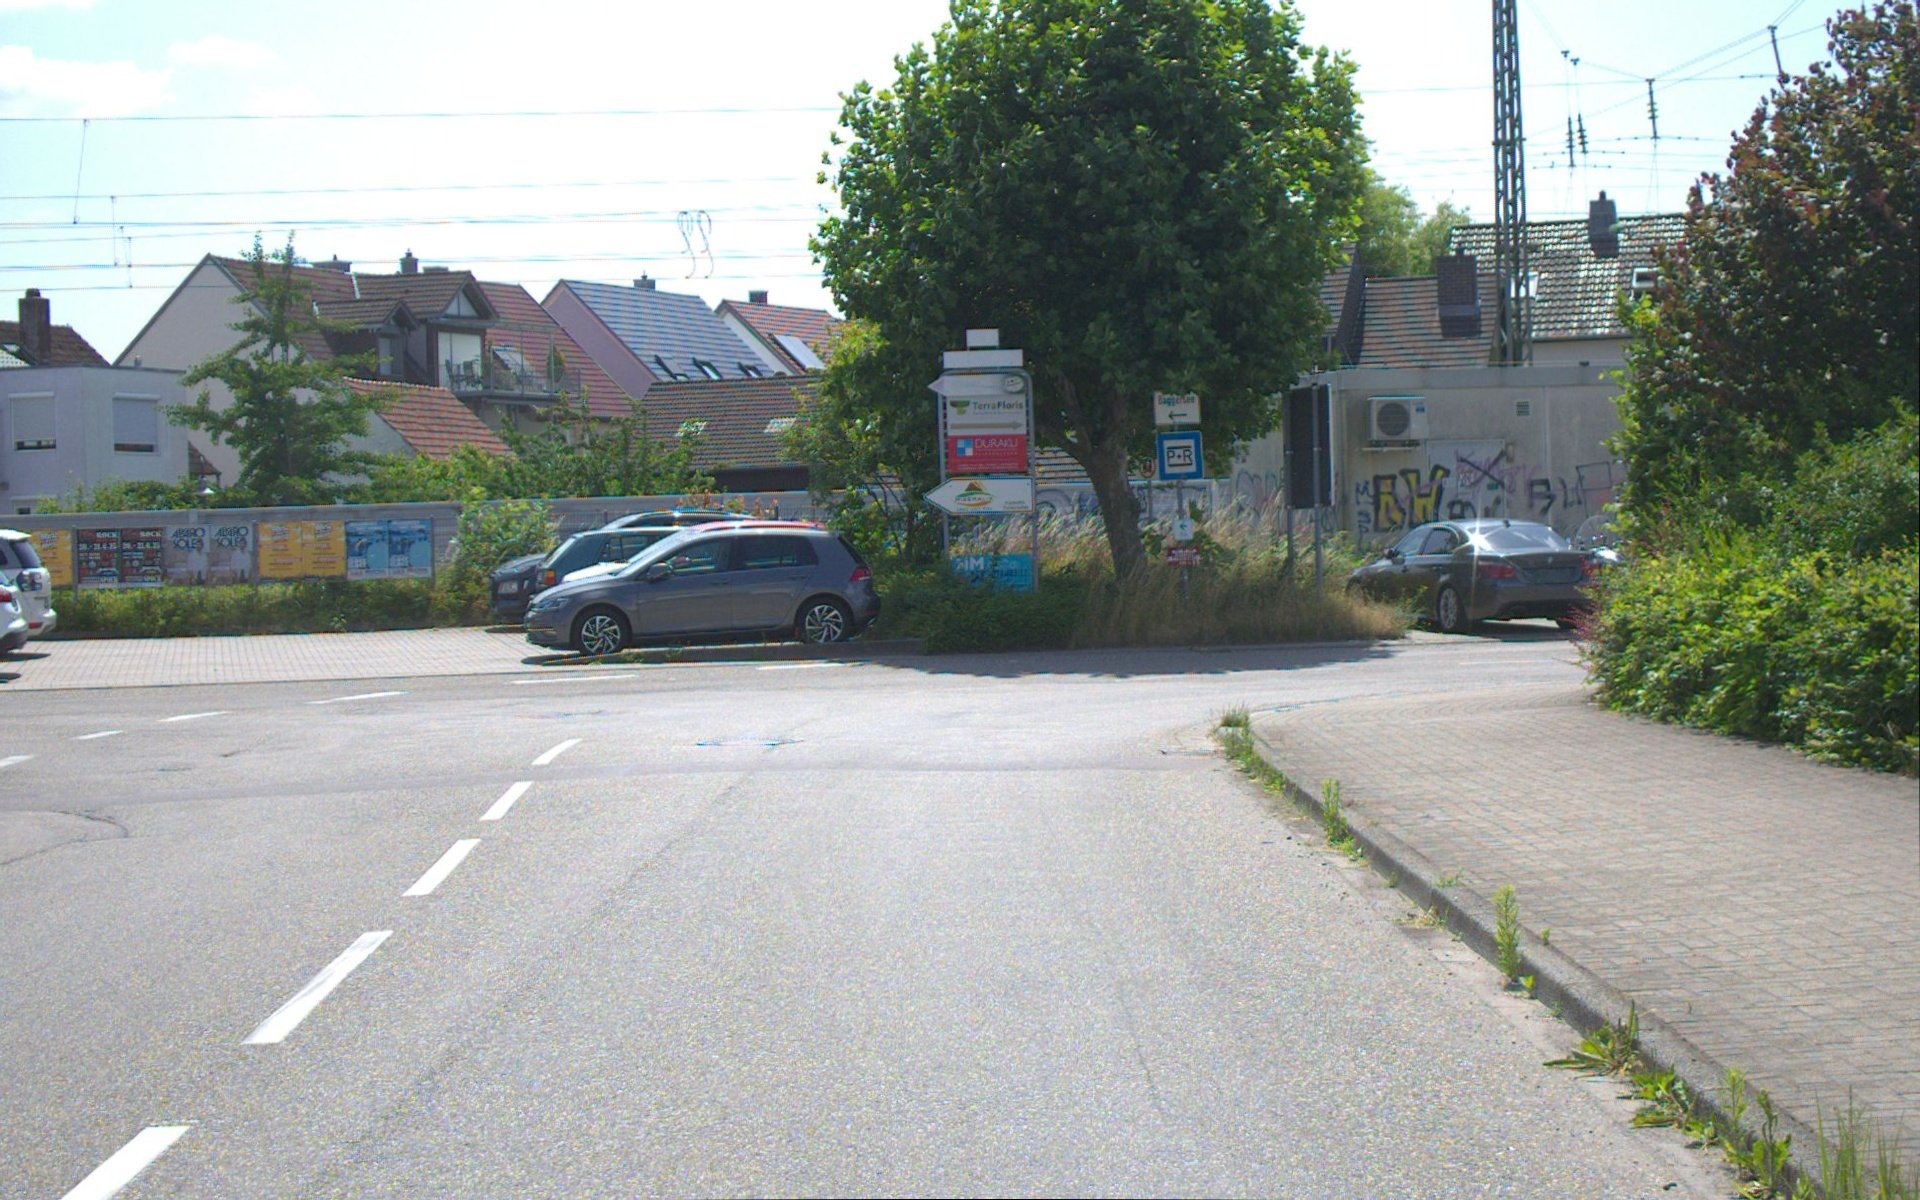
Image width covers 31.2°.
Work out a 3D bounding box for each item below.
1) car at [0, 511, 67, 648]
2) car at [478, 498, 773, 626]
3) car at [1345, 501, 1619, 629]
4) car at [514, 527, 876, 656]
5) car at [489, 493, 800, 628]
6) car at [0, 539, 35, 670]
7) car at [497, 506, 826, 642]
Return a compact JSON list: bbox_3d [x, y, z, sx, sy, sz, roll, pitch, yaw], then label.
[{"bbox_3d":[-13.814,-0.250,43.884,4.451,1.685,2.001,-1,2,-8],"label":"car"},{"bbox_3d":[-4.709,-0.525,48.113,3.986,1.724,1.771,0,0,-9],"label":"car"},{"bbox_3d":[6.651,-0.485,44.243,1.751,1.381,4.002,0,4,-20],"label":"car"},{"bbox_3d":[-3.187,-0.112,41.045,4.186,1.458,1.665,-1,1,-8],"label":"car"},{"bbox_3d":[-4.259,-0.544,46.097,3.986,1.652,2.001,-2,1,-9],"label":"car"},{"bbox_3d":[-12.846,0.031,39.277,4.281,1.472,1.828,0,0,-12],"label":"car"},{"bbox_3d":[-3.806,-0.336,43.492,3.986,1.581,1.780,-2,1,-9],"label":"car"}]
